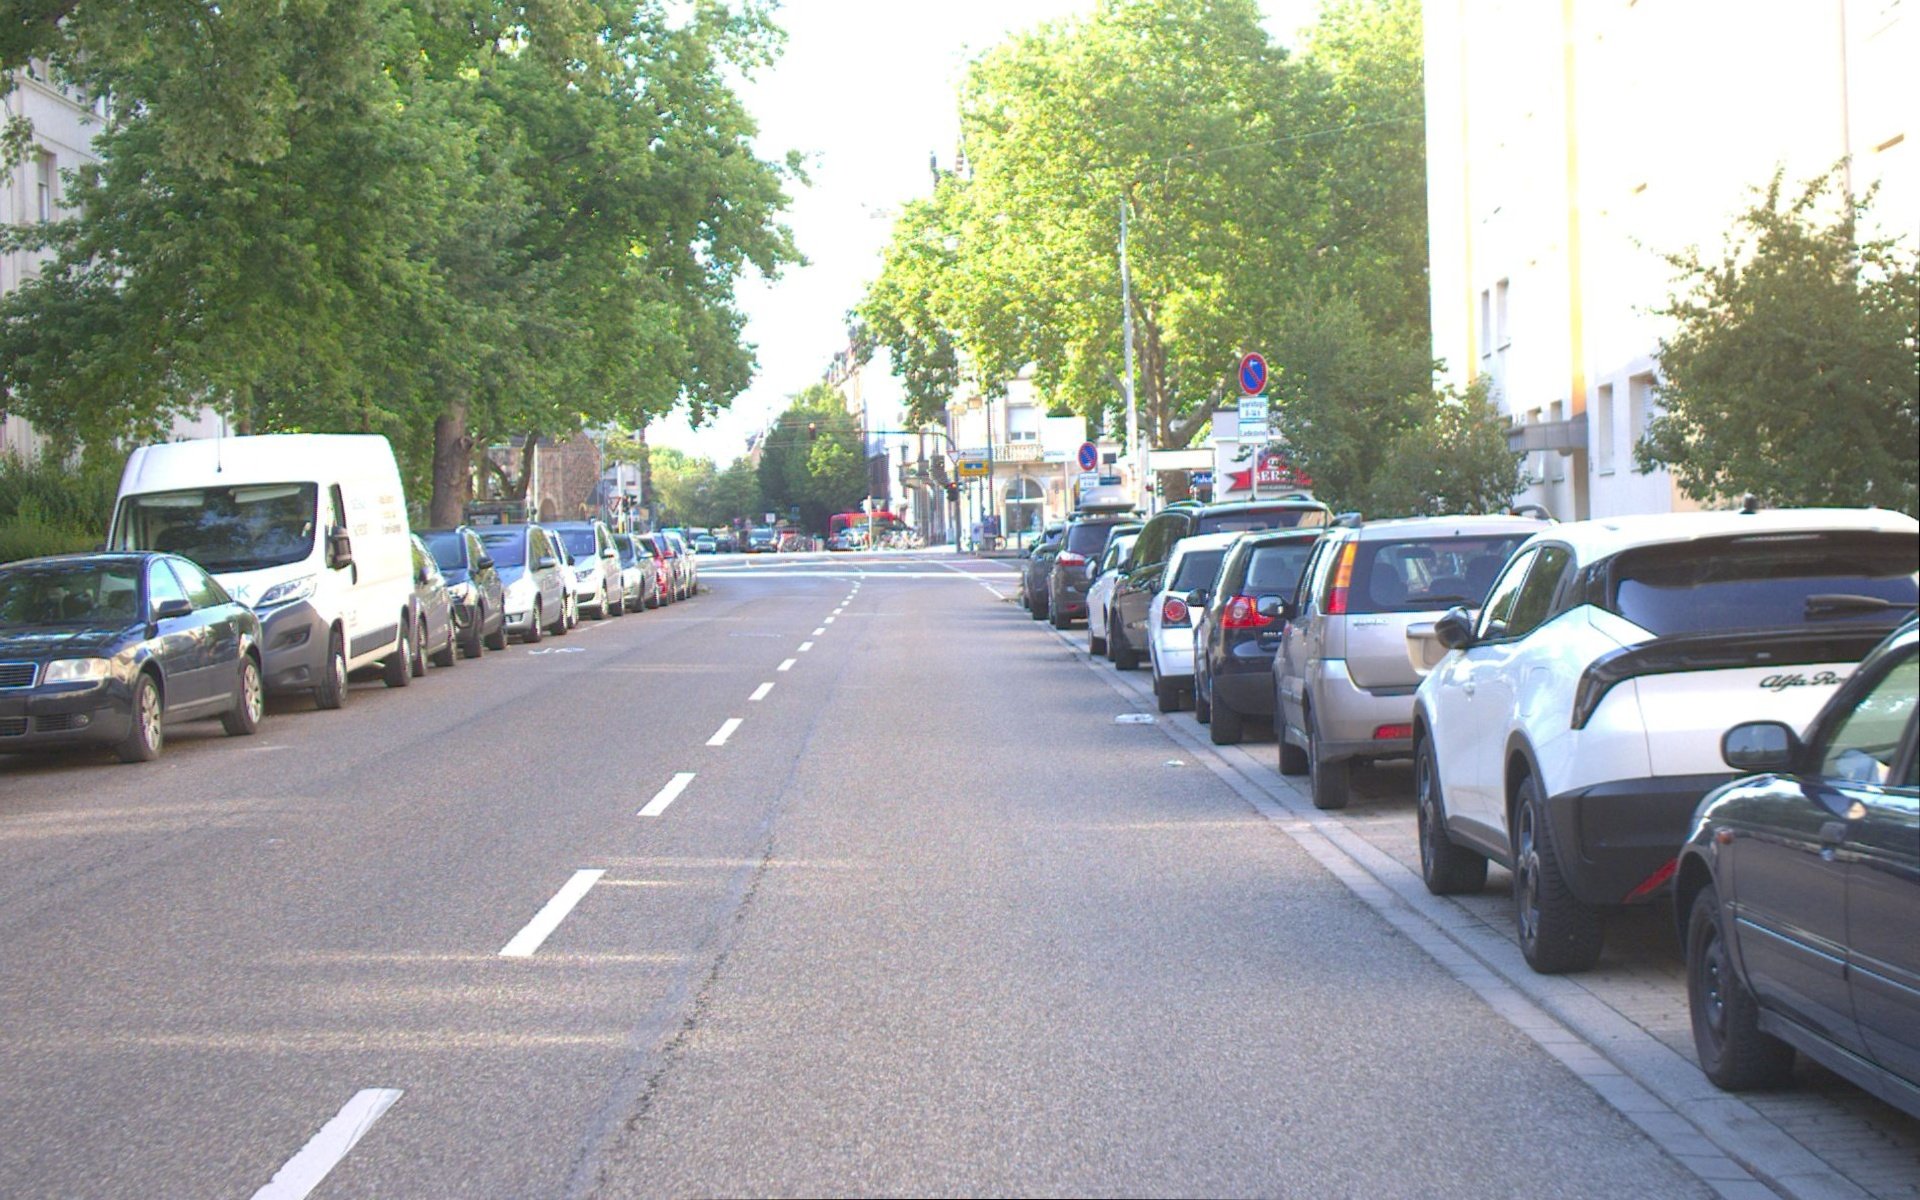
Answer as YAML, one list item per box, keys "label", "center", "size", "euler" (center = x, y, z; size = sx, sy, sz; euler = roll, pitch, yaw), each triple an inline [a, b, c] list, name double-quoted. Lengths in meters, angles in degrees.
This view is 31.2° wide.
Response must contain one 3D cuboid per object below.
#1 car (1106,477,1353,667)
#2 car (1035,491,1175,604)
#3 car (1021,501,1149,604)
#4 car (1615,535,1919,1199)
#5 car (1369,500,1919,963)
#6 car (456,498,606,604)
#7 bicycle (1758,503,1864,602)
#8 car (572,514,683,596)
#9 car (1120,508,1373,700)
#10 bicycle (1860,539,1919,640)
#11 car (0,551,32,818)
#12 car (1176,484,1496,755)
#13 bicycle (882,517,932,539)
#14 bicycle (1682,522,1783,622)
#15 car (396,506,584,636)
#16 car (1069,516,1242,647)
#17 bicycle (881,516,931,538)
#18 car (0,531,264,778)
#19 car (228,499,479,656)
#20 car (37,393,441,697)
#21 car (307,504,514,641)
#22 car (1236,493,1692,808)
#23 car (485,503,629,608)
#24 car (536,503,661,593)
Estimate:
- label: "car"
  center: [2.649, -0.271, 34.877]
  size: [2.024, 1.744, 4.767]
  euler: [1, 0, -1]
- label: "car"
  center: [2.185, -0.822, 52.772]
  size: [1.897, 1.645, 4.343]
  euler: [0, 1, -1]
- label: "car"
  center: [2.090, -0.785, 58.821]
  size: [1.927, 1.653, 4.678]
  euler: [1, 0, -1]
- label: "car"
  center: [2.770, 0.602, 7.807]
  size: [1.661, 1.433, 4.313]
  euler: [1, 0, -1]
- label: "car"
  center: [2.775, 0.400, 12.761]
  size: [1.873, 1.438, 4.000]
  euler: [0, 0, -2]
- label: "car"
  center: [-6.695, -0.750, 54.039]
  size: [1.870, 1.553, 4.101]
  euler: [1, 0, -1]
- label: "bicycle"
  center: [9.867, -0.571, 39.927]
  size: [0.600, 1.078, 2.393]
  euler: [-1, 2, -1]
- label: "car"
  center: [-6.662, -0.892, 69.298]
  size: [1.870, 1.553, 4.000]
  euler: [1, 0, -1]
- label: "car"
  center: [2.391, 0.025, 29.640]
  size: [1.837, 1.496, 4.172]
  euler: [1, 0, 1]
- label: "bicycle"
  center: [11.117, -0.140, 40.047]
  size: [0.600, 1.078, 2.393]
  euler: [-1, 2, -1]
- label: "car"
  center: [-6.475, 0.501, 19.216]
  size: [1.707, 1.568, 3.261]
  euler: [0, 0, 0]
- label: "car"
  center: [2.647, 0.126, 25.064]
  size: [1.837, 1.766, 3.978]
  euler: [2, 0, 0]
- label: "bicycle"
  center: [-3.050, -4.169, 198.129]
  size: [2.802, 1.199, 0.517]
  euler: [1, 0, -8]
- label: "bicycle"
  center: [8.923, -0.343, 39.810]
  size: [0.600, 1.078, 2.393]
  euler: [-1, 2, -1]
- label: "car"
  center: [-6.435, -0.449, 47.560]
  size: [1.871, 1.553, 5.057]
  euler: [-5, 1, -1]
- label: "car"
  center: [2.239, -0.206, 40.454]
  size: [1.679, 1.410, 4.724]
  euler: [1, 0, -1]
- label: "bicycle"
  center: [-3.105, -4.166, 196.583]
  size: [2.802, 1.199, 0.510]
  euler: [1, 0, -7]
- label: "car"
  center: [-6.154, 0.363, 24.174]
  size: [1.707, 1.568, 3.819]
  euler: [-2, 0, 0]
- label: "car"
  center: [-6.454, -0.233, 37.058]
  size: [1.957, 1.553, 4.346]
  euler: [1, 0, -1]
- label: "car"
  center: [-6.381, -0.459, 31.299]
  size: [2.358, 2.437, 6.165]
  euler: [1, 0, 0]
- label: "car"
  center: [-6.691, -0.328, 42.290]
  size: [1.870, 1.553, 4.366]
  euler: [1, 0, -1]
- label: "car"
  center: [2.772, 0.256, 19.873]
  size: [1.962, 1.600, 4.279]
  euler: [1, 0, 0]
- label: "car"
  center: [-6.842, -0.732, 58.812]
  size: [1.916, 1.672, 4.974]
  euler: [1, 0, -1]
- label: "car"
  center: [-6.682, -0.938, 63.932]
  size: [1.870, 1.553, 4.497]
  euler: [1, 0, -1]
